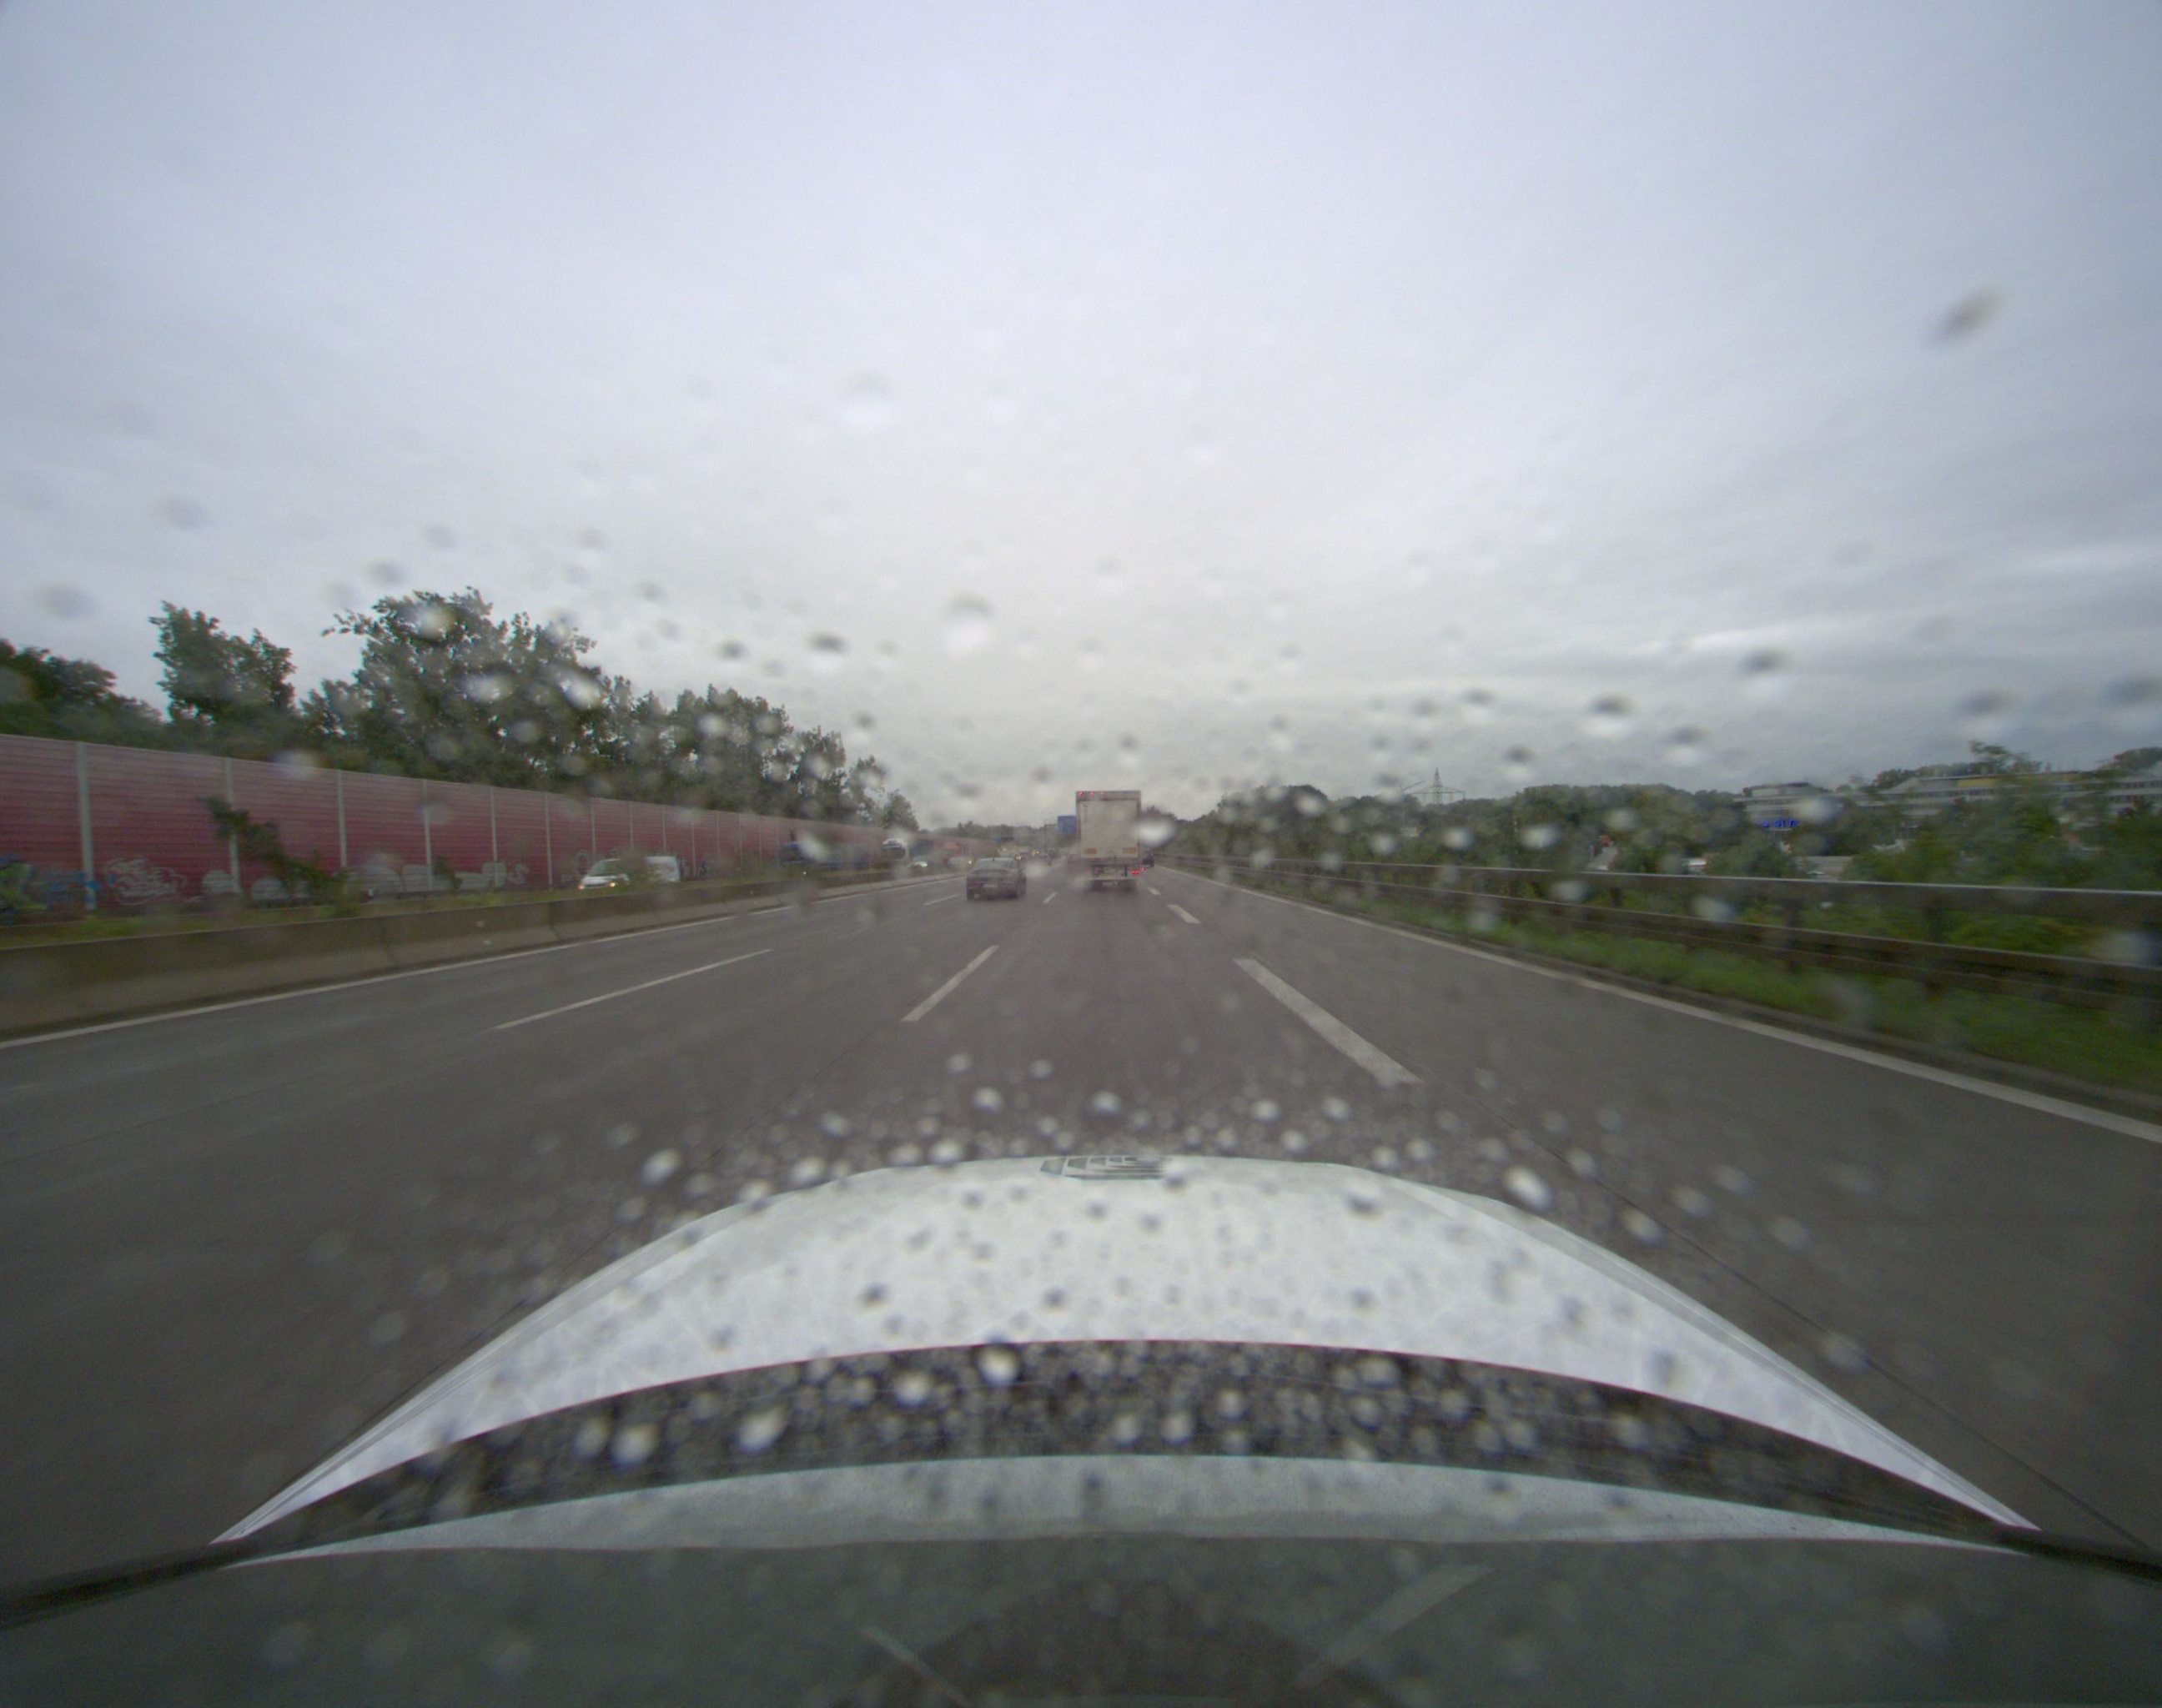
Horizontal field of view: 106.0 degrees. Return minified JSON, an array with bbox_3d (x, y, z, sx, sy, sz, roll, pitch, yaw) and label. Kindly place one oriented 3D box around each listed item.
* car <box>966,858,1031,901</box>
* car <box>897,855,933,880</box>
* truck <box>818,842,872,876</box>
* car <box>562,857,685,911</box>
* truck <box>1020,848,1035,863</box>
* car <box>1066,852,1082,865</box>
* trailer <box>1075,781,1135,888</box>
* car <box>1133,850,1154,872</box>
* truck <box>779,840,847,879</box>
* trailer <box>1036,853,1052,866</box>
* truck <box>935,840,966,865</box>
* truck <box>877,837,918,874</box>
[{"bbox_3d":[-2.905,0.864,29.639,1.719,1.403,4.830,-1,0,2],"label":"car"},{"bbox_3d":[-14.126,1.084,69.648,1.986,2.013,4.792,-1,0,1],"label":"car"},{"bbox_3d":[-24.548,0.470,85.333,2.962,3.350,8.701,0,0,1],"label":"truck"},{"bbox_3d":[-18.735,1.145,33.708,1.986,2.013,5.136,-1,0,2],"label":"car"},{"bbox_3d":[-10.613,0.257,161.657,2.258,2.828,7.281,0,0,1],"label":"truck"},{"bbox_3d":[-0.939,0.553,109.923,1.887,1.723,4.002,0,0,2],"label":"car"},{"bbox_3d":[1.179,-0.872,39.204,2.334,4.157,14.834,0,1,2],"label":"trailer"},{"bbox_3d":[5.764,0.615,75.375,1.889,1.949,4.003,0,0,3],"label":"car"},{"bbox_3d":[-24.720,0.486,75.747,2.703,3.350,10.434,0,0,1],"label":"truck"},{"bbox_3d":[-4.831,0.684,107.266,1.808,1.624,4.570,-1,0,2],"label":"trailer"},{"bbox_3d":[-19.764,-0.203,124.052,2.771,3.490,10.620,-2,0,1],"label":"truck"},{"bbox_3d":[-20.258,0.158,90.388,3.035,4.027,6.052,0,0,1],"label":"truck"}]
